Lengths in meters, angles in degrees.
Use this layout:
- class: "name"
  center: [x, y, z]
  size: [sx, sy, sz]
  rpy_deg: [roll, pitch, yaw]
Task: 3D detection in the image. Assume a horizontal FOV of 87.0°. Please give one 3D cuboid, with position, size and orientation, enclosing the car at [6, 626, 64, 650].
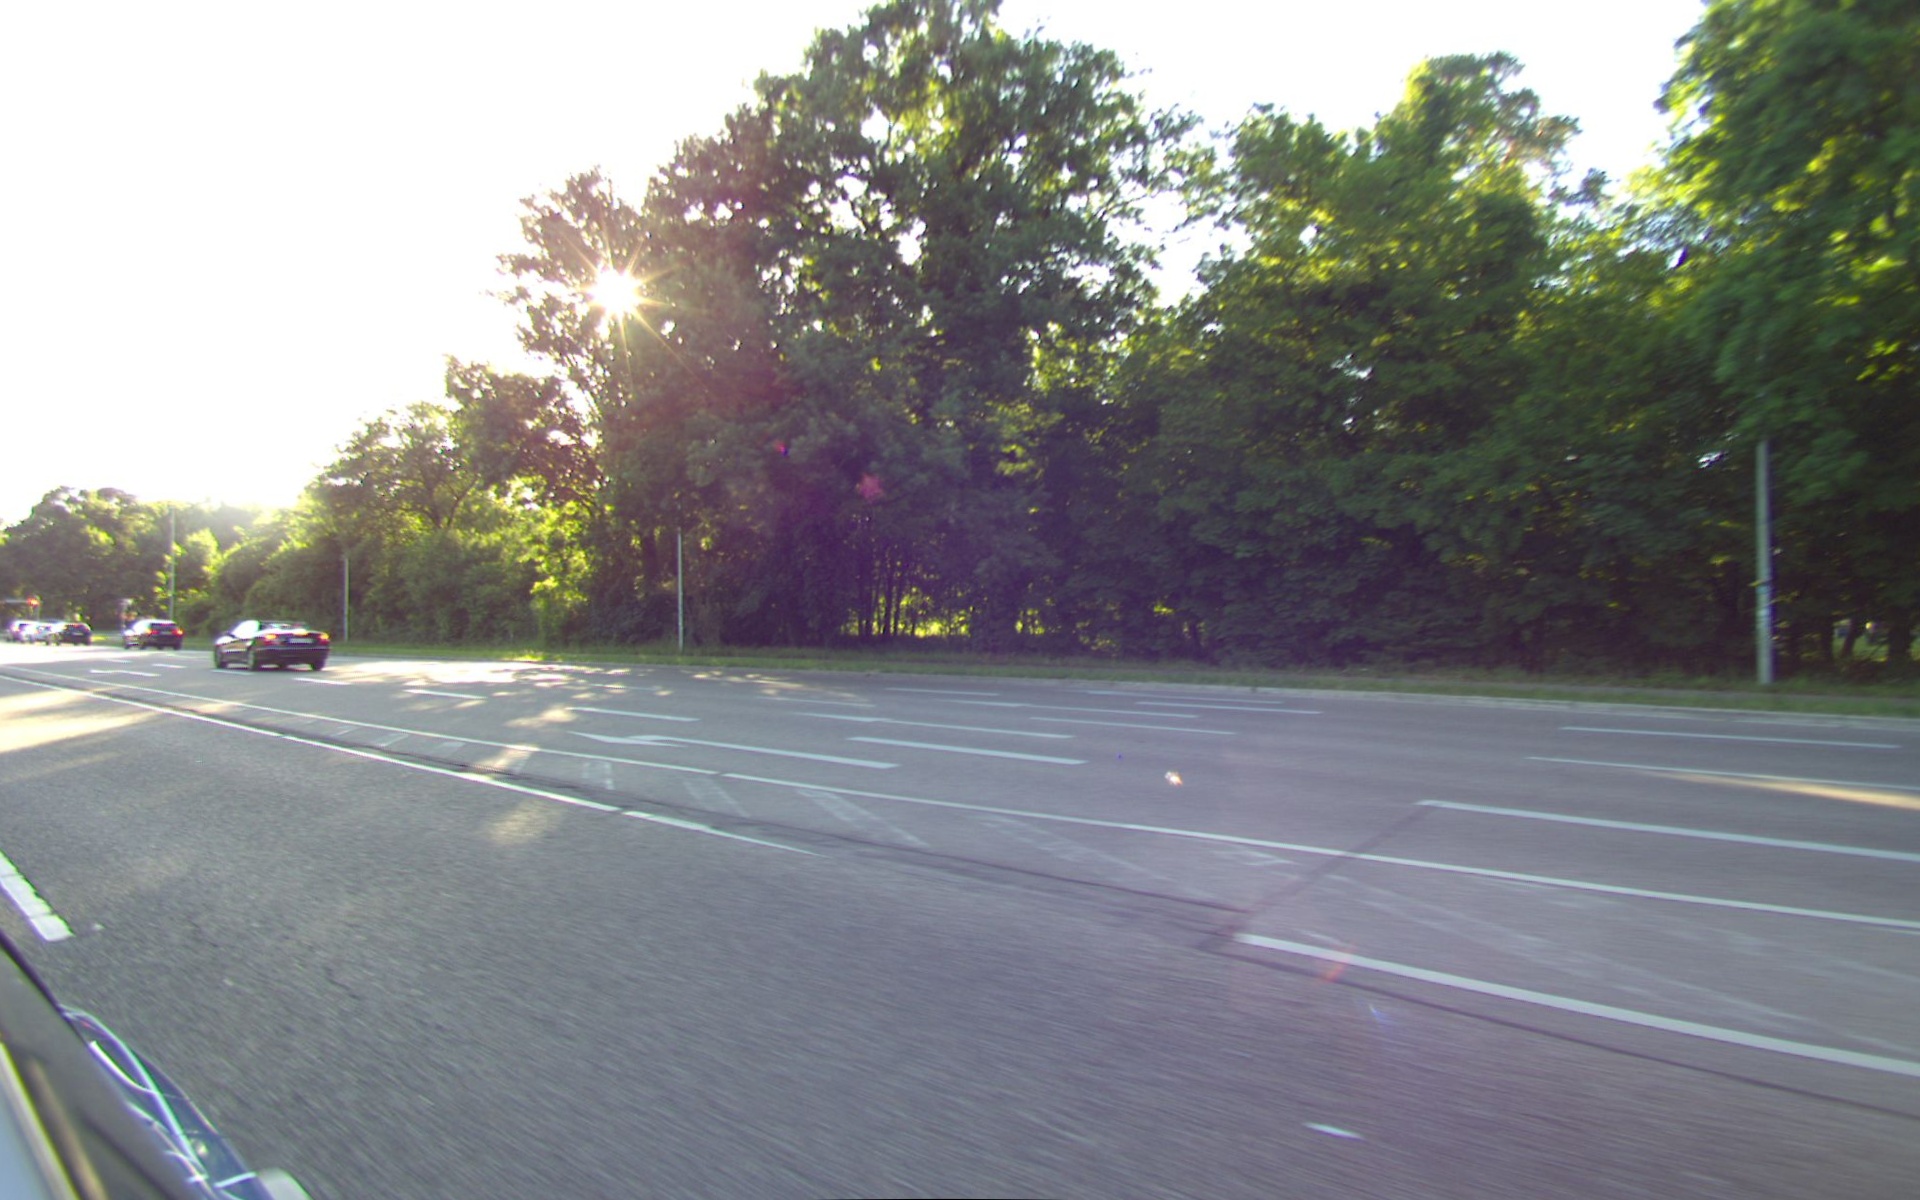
- class: "car"
  center: [-66.047, 2.718, 72.227]
  size: [4.636, 1.576, 1.977]
  rpy_deg: [-1, -5, 34]

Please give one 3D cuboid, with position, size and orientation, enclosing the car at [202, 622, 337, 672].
- class: "car"
  center: [-18.816, 1.249, 27.507]
  size: [4.667, 1.243, 1.727]
  rpy_deg: [-1, -2, 38]

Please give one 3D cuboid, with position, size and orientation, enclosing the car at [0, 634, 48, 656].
- class: "car"
  center: [-71.188, 3.426, 76.807]
  size: [4.639, 1.576, 1.975]
  rpy_deg: [-1, -4, 37]

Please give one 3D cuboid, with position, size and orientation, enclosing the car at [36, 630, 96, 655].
- class: "car"
  center: [-59.663, 2.832, 67.520]
  size: [4.639, 1.576, 1.975]
  rpy_deg: [-1, -4, 37]

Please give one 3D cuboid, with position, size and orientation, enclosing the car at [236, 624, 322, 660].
- class: "car"
  center: [-30.707, 1.869, 45.582]
  size: [4.332, 1.576, 1.974]
  rpy_deg: [-1, -2, 38]

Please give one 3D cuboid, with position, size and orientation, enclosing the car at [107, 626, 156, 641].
- class: "car"
  center: [-83.251, 3.316, 101.750]
  size: [1.967, 1.462, 4.660]
  rpy_deg: [0, -2, -13]

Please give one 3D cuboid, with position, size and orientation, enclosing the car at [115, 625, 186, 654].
- class: "car"
  center: [-46.565, 2.253, 58.182]
  size: [4.834, 1.649, 1.975]
  rpy_deg: [-1, -2, 37]
